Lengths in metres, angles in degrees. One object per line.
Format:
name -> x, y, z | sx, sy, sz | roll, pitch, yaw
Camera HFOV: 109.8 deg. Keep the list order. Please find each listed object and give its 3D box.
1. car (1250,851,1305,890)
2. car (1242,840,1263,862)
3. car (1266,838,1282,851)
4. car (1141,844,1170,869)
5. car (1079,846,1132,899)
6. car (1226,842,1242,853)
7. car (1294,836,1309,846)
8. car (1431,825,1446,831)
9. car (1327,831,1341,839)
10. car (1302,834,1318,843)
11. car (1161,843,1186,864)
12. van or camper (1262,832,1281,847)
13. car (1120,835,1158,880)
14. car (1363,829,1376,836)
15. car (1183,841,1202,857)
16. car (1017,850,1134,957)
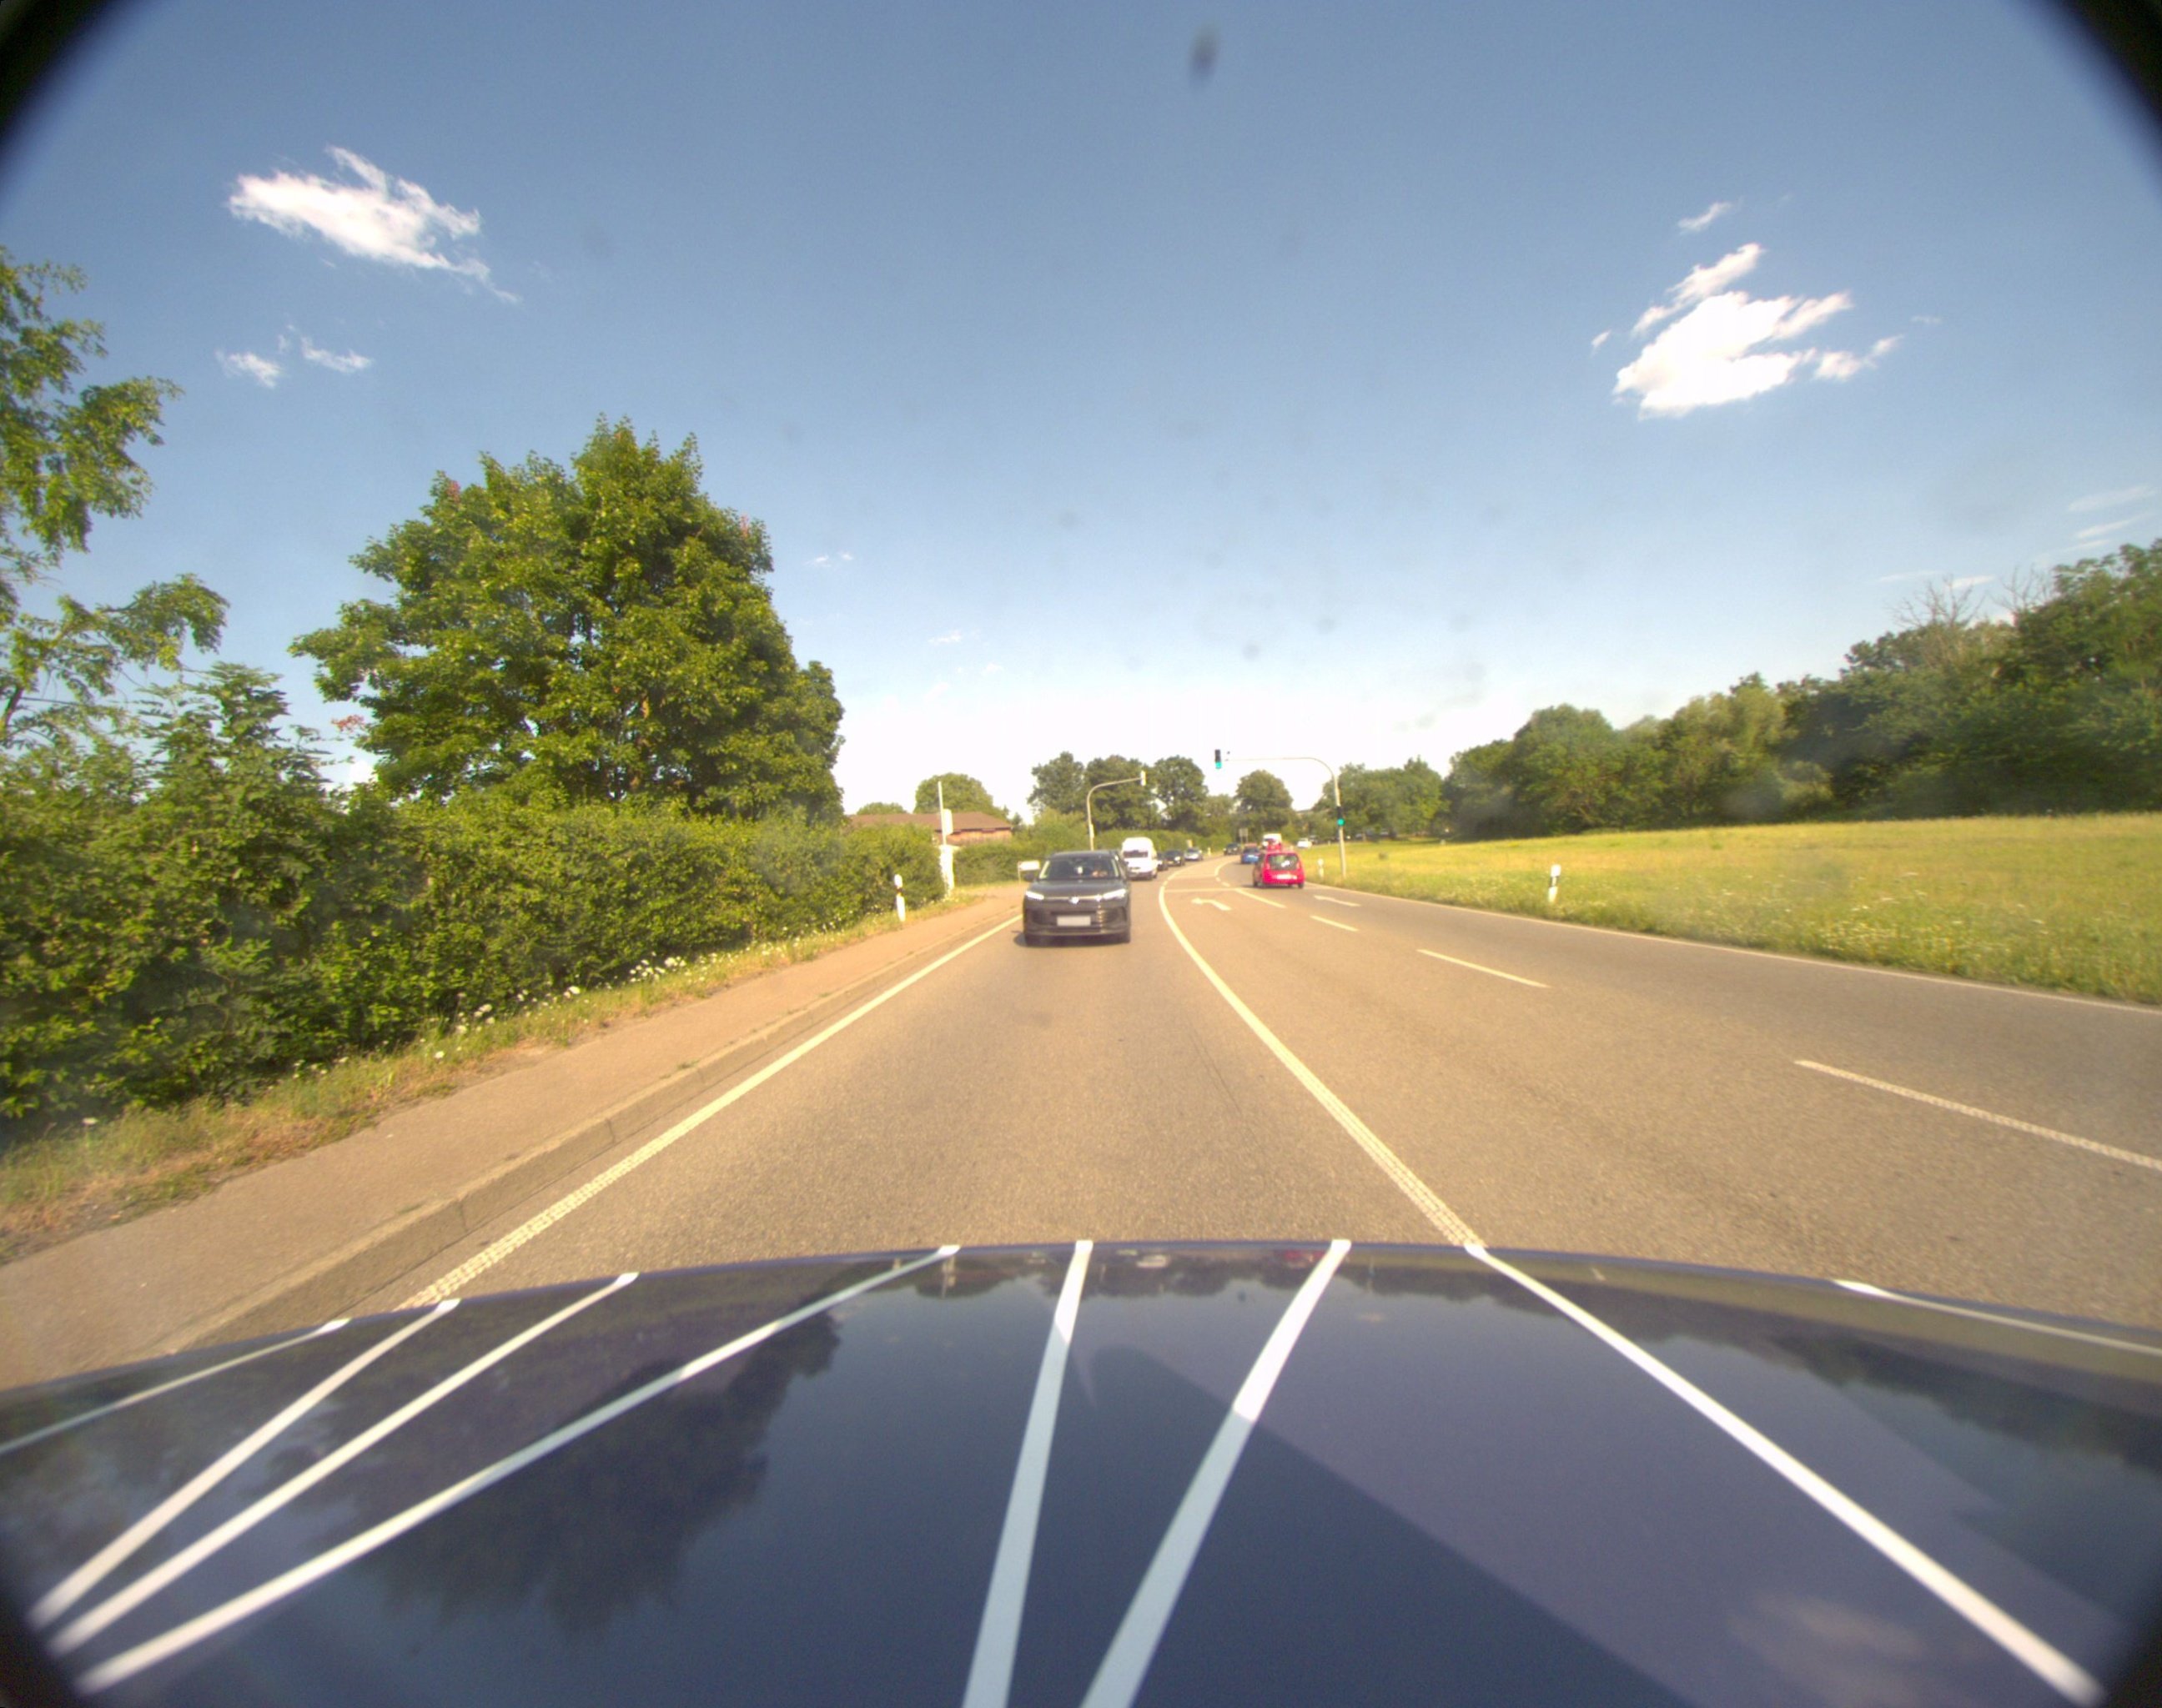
car -> 7.877, 0.623, 30.720 | 1.589, 1.458, 3.608 | -1, 0, 5
car -> 15.194, -0.258, 67.309 | 1.727, 1.871, 4.340 | -1, 0, 13
car -> 27.079, -1.293, 106.458 | 1.882, 1.765, 4.327 | -1, 0, 18
car -> 5.507, 0.154, 56.020 | 1.692, 1.718, 3.671 | -1, 1, 12
car -> 0.935, 0.615, 27.064 | 1.659, 1.720, 3.805 | -1, 0, 4
car -> 20.850, -0.889, 103.519 | 1.605, 1.471, 3.621 | 0, 1, 19
car -> 38.783, -2.236, 133.436 | 1.882, 1.577, 4.337 | -1, 0, 24
car -> 94.619, -6.867, 200.965 | 4.081, 1.577, 1.928 | -2, 2, -40
car -> 56.217, -4.128, 168.691 | 1.995, 1.543, 4.006 | -4, 0, 32
car -> 46.811, -3.107, 155.047 | 1.995, 1.543, 4.006 | -4, 0, 33
car -> 8.070, -0.076, 65.970 | 1.672, 1.718, 3.671 | -1, 2, 13
van or camper -> 32.369, -2.498, 129.030 | 2.031, 2.461, 5.084 | -4, 0, 24
car -> 3.312, 0.128, 42.530 | 1.843, 2.338, 4.790 | -1, 1, 7
car -> 65.850, -4.866, 173.152 | 1.746, 1.458, 3.486 | 0, 2, 38
car -> 11.822, -0.561, 80.483 | 1.633, 1.550, 3.420 | -1, 2, 15
car -> -0.007, 0.794, 14.285 | 1.865, 1.633, 4.000 | -1, 1, 2
